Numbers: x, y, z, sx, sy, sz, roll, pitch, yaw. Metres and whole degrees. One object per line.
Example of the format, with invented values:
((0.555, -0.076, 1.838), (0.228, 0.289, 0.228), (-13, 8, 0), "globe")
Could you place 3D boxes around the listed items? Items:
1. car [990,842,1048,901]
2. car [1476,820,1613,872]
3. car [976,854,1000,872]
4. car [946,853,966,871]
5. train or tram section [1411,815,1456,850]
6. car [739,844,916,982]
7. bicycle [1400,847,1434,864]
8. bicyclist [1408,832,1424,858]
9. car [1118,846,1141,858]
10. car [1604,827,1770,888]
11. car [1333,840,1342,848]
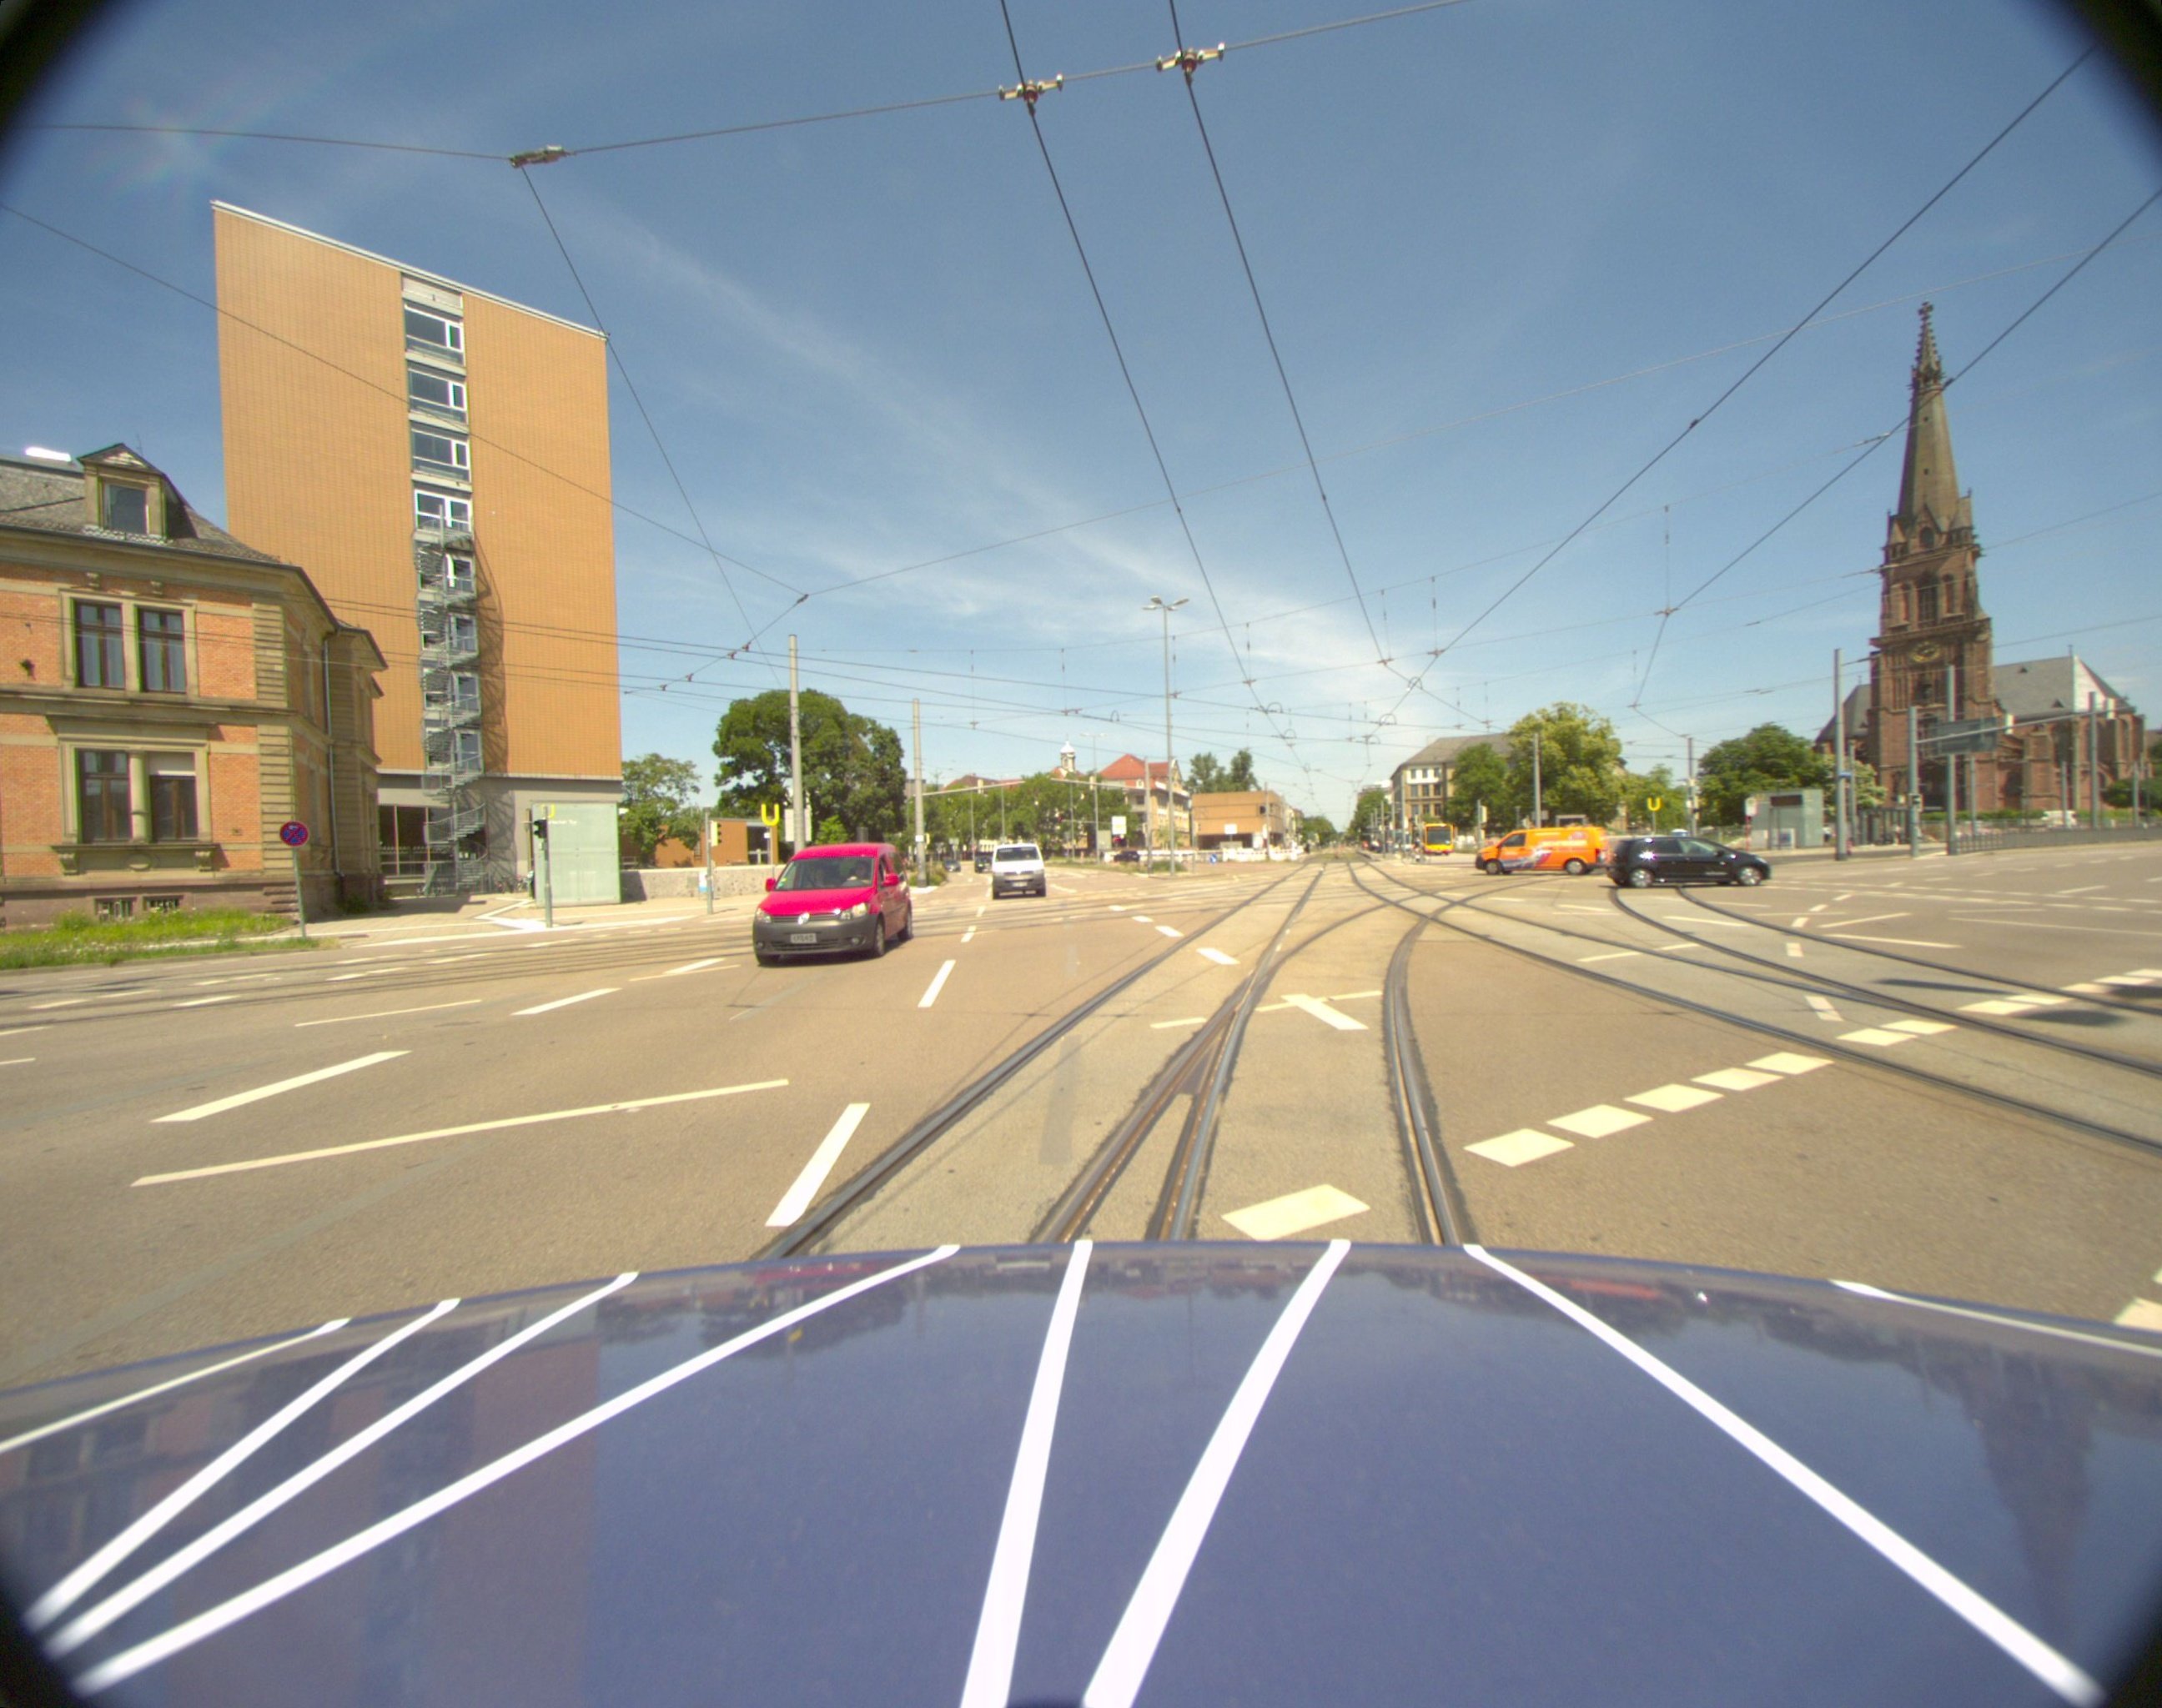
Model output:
((-2.329, 0.589, 27.873), (1.875, 1.954, 3.820), (-2, 1, -7), "car")
((19.285, -0.310, 31.732), (4.583, 2.002, 2.004), (-1, 1, 41), "car")
((-9.206, 0.857, 74.810), (2.000, 1.714, 3.996), (-2, 0, -11), "car")
((-13.985, 0.884, 84.894), (2.000, 1.830, 3.996), (-2, 0, -11), "car")
((35.459, -2.116, 76.822), (2.838, 3.195, 9.119), (-2, 1, 17), "train or tram section")
((-3.872, 0.777, 12.338), (1.756, 1.802, 4.095), (-2, 1, -5), "car")
((21.493, 0.097, 48.665), (1.905, 0.973, 0.529), (-2, 1, 3), "bicycle")
((21.481, -0.583, 48.724), (0.812, 1.678, 0.529), (-2, 1, 3), "bicyclist")
((5.838, -0.215, 91.636), (1.540, 1.450, 2.982), (-2, 1, -21), "car")
((16.928, 0.098, 21.398), (3.379, 1.565, 1.336), (-2, 1, 21), "car")
((50.128, -1.975, 148.493), (1.438, 1.587, 4.004), (-2, 1, 17), "car")
